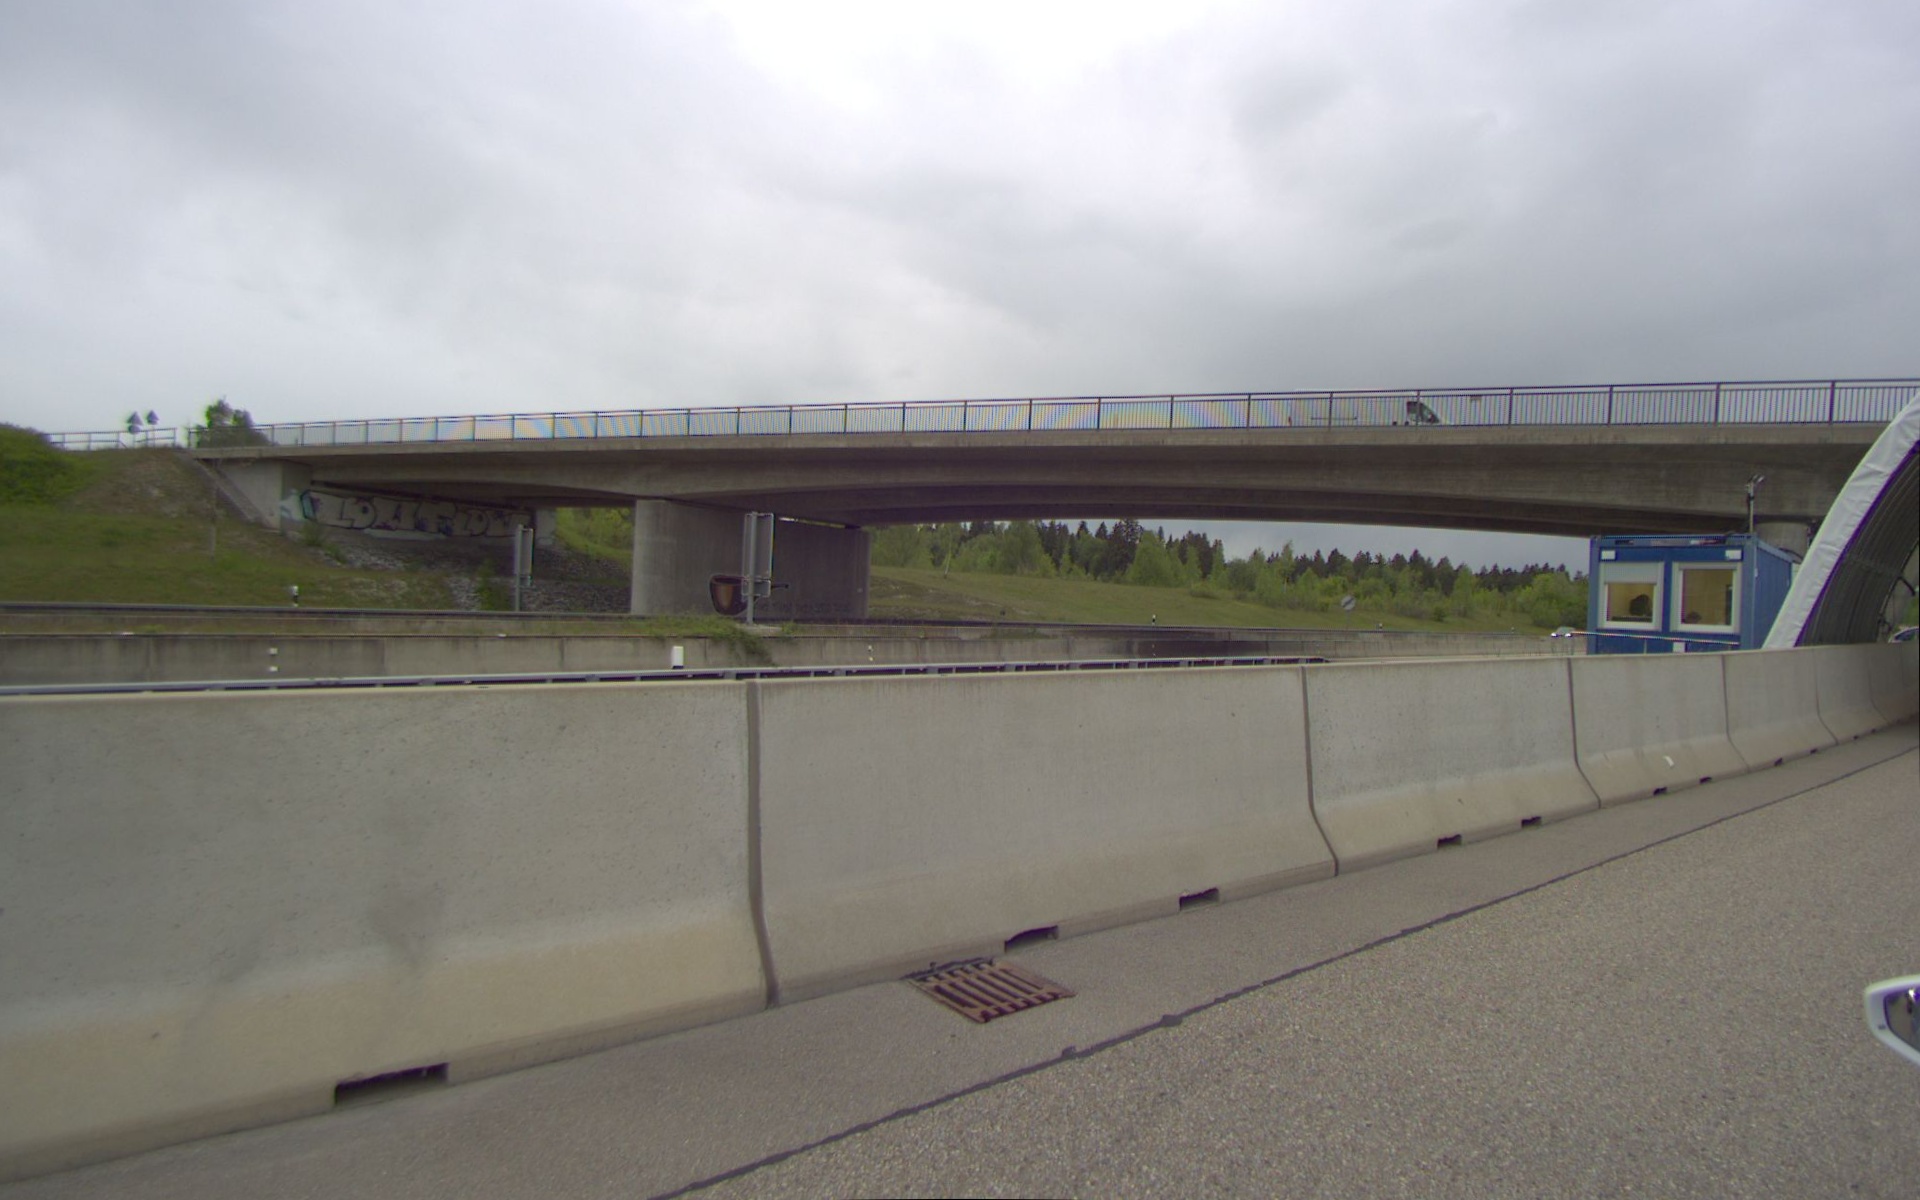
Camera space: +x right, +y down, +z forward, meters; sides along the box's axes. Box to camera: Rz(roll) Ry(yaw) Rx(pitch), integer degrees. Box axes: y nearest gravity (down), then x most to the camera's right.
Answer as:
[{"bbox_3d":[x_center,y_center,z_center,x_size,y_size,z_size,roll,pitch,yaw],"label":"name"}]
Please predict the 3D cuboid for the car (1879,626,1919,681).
[{"bbox_3d":[36.995,2.022,36.652,1.814,2.040,4.797,2,-1,-22],"label":"car"}]

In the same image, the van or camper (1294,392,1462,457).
[{"bbox_3d":[14.825,-6.201,35.826,5.347,1.793,1.896,2,0,22],"label":"van or camper"}]

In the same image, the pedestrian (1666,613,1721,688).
[{"bbox_3d":[13.963,0.948,19.125,0.618,1.391,0.609,2,-1,-21],"label":"pedestrian"}]
